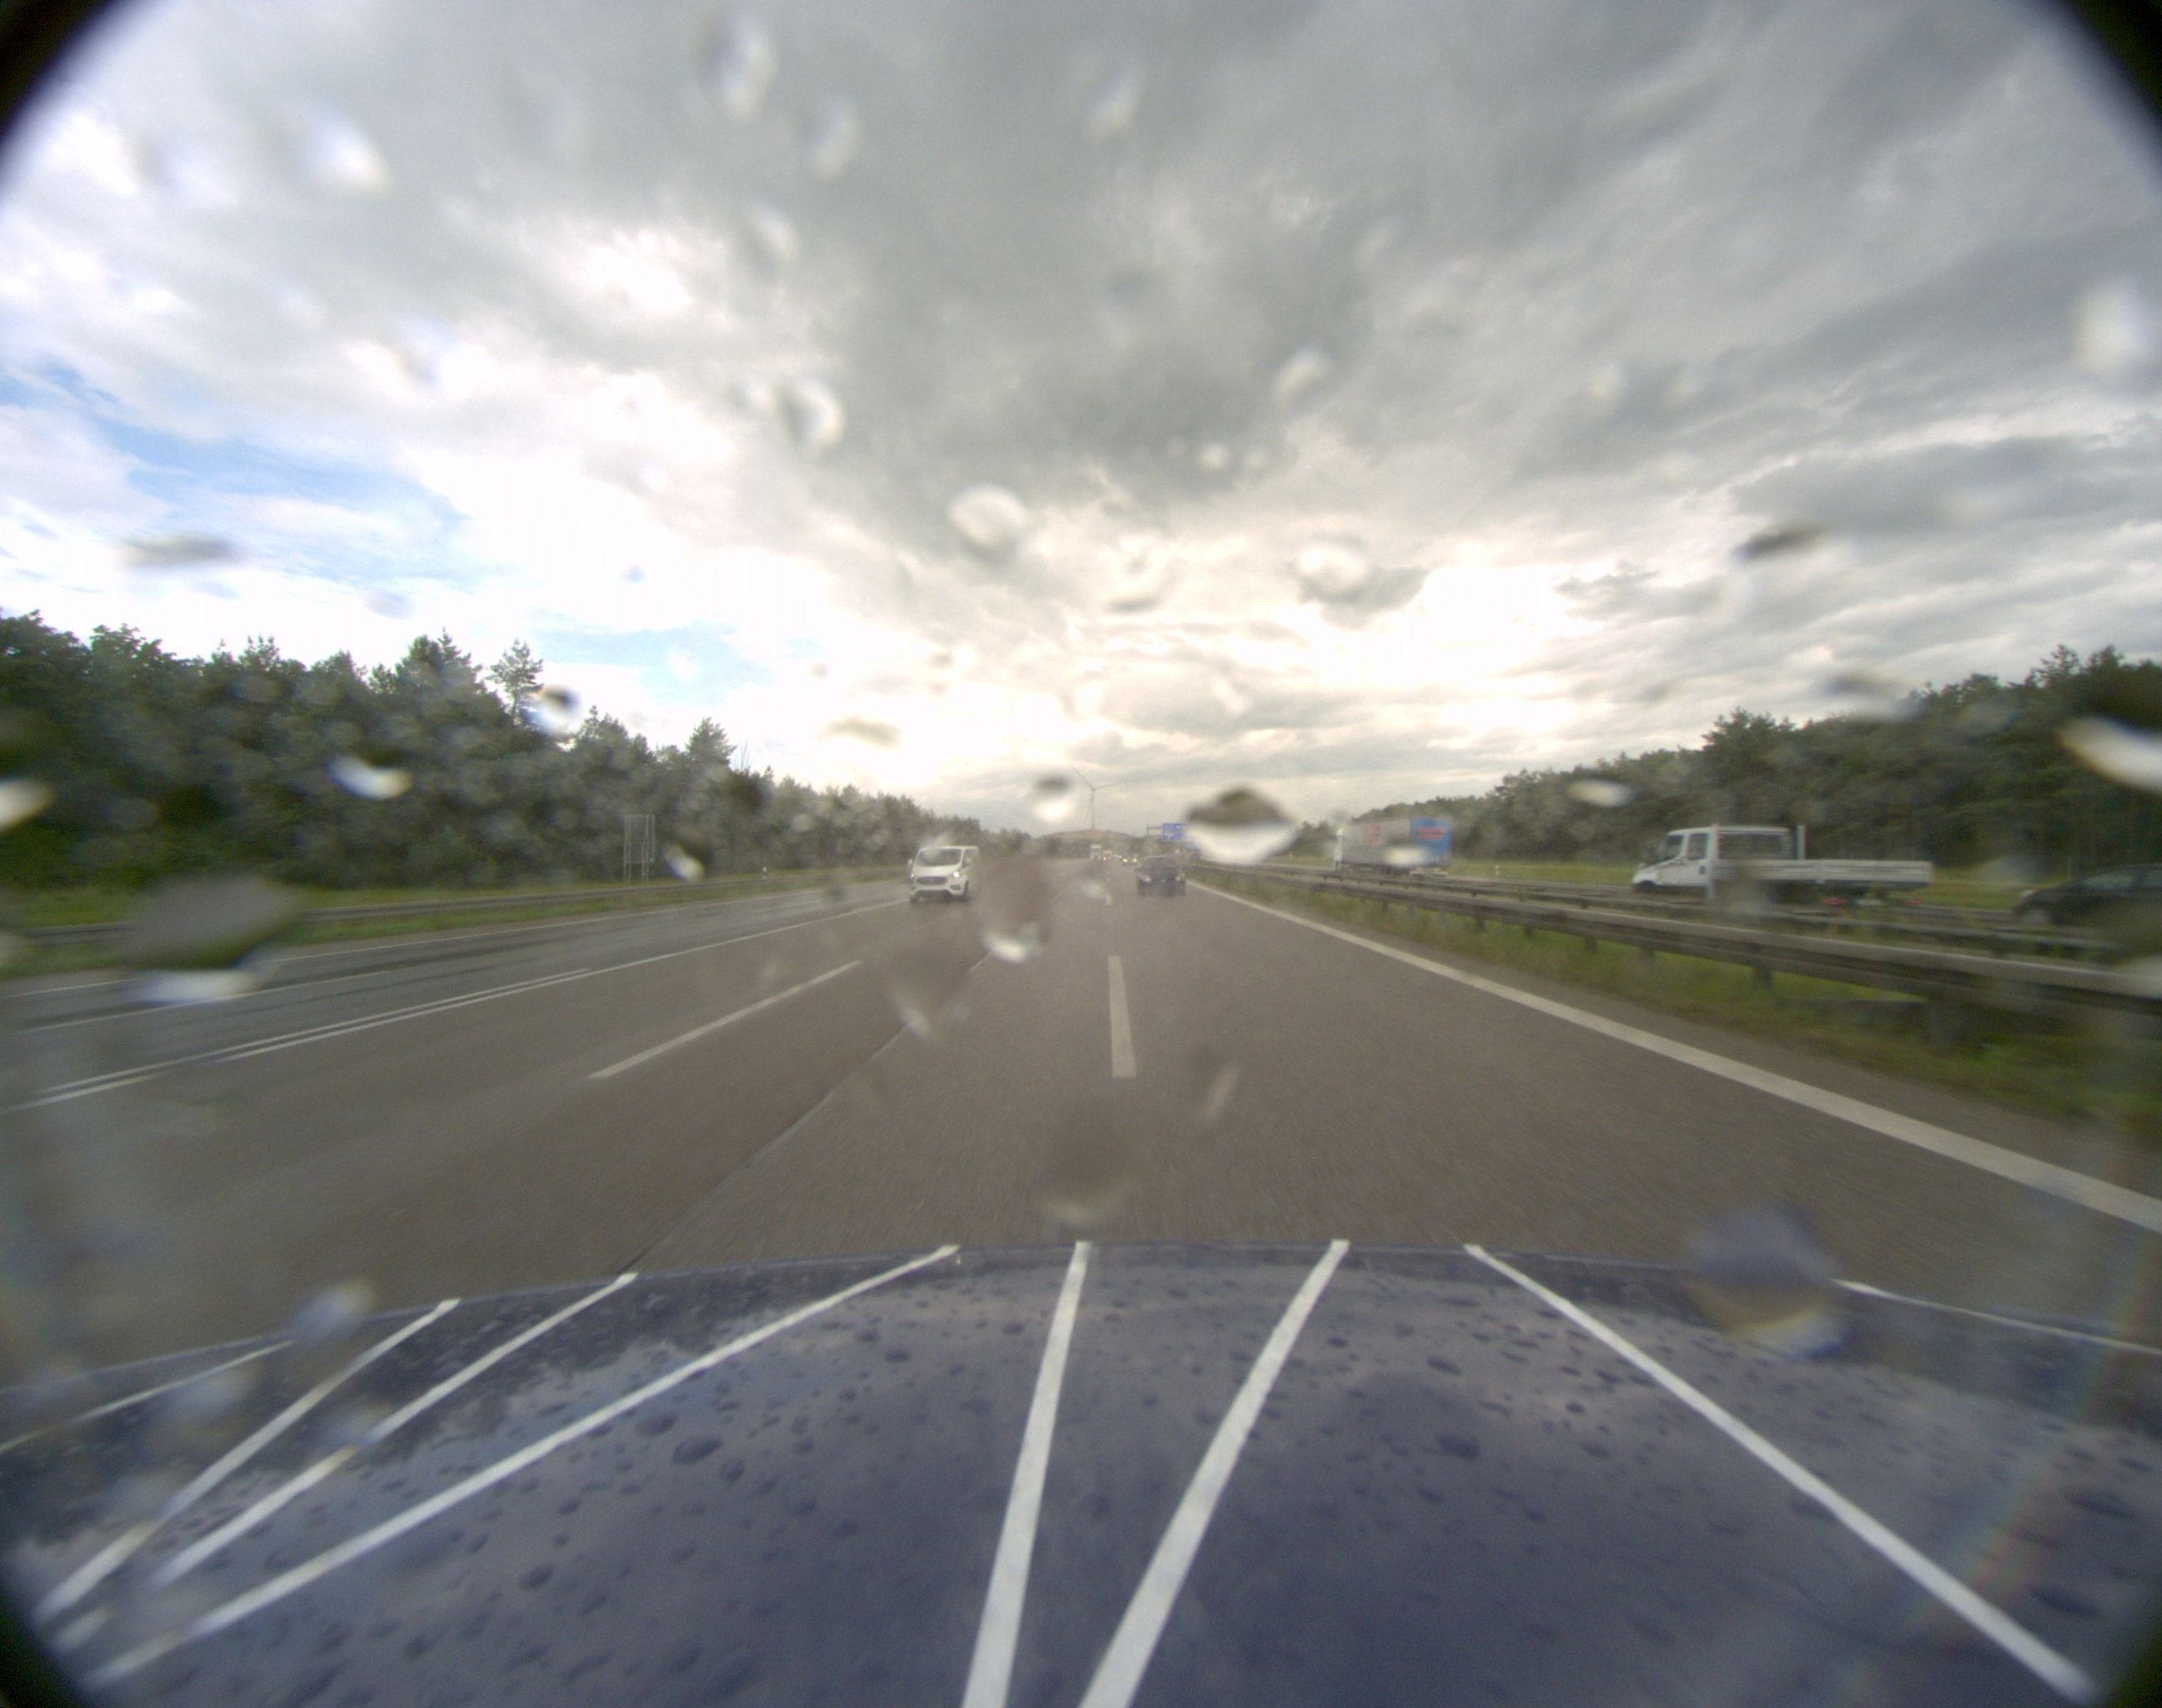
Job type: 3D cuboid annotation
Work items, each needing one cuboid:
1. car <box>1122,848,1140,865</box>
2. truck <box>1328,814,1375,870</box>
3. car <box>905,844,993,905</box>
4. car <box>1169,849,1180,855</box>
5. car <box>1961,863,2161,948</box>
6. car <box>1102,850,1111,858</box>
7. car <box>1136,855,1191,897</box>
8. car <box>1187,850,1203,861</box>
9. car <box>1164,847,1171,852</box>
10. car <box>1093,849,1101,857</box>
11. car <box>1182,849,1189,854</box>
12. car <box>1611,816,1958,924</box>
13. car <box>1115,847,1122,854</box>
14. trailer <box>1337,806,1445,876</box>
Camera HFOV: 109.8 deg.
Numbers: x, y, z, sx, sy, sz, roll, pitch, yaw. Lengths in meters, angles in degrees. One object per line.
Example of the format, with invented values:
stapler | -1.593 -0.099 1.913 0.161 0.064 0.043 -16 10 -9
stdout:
car | 6.088 0.263 92.476 1.998 2.002 4.000 -2 0 3
truck | 21.773 -0.961 61.383 2.144 4.213 4.707 -3 1 3
car | -4.820 0.682 28.608 1.998 2.002 5.483 -2 0 3
car | 19.883 -0.448 161.536 1.920 1.357 4.652 -1 0 3
car | 20.247 0.948 14.499 1.676 1.451 4.561 -1 1 1
car | 6.049 -0.028 180.777 1.998 2.002 4.000 -1 1 1
car | 3.009 0.755 28.308 1.809 1.321 4.432 -2 1 4
car | 17.599 0.172 117.733 1.864 1.652 4.472 0 0 1
car | 24.286 -1.289 213.548 1.998 1.463 4.117 -3 1 5
car | 4.063 -0.287 198.515 1.998 2.002 4.000 -1 1 1
car | 28.613 -0.678 208.155 1.641 1.463 4.402 -1 0 5
car | 16.156 0.298 18.288 2.289 2.002 6.739 -3 0 3
car | 11.758 -1.161 239.720 1.998 2.002 4.000 -1 1 1
trailer | 21.459 -0.877 53.823 2.103 4.216 14.625 -3 1 2
